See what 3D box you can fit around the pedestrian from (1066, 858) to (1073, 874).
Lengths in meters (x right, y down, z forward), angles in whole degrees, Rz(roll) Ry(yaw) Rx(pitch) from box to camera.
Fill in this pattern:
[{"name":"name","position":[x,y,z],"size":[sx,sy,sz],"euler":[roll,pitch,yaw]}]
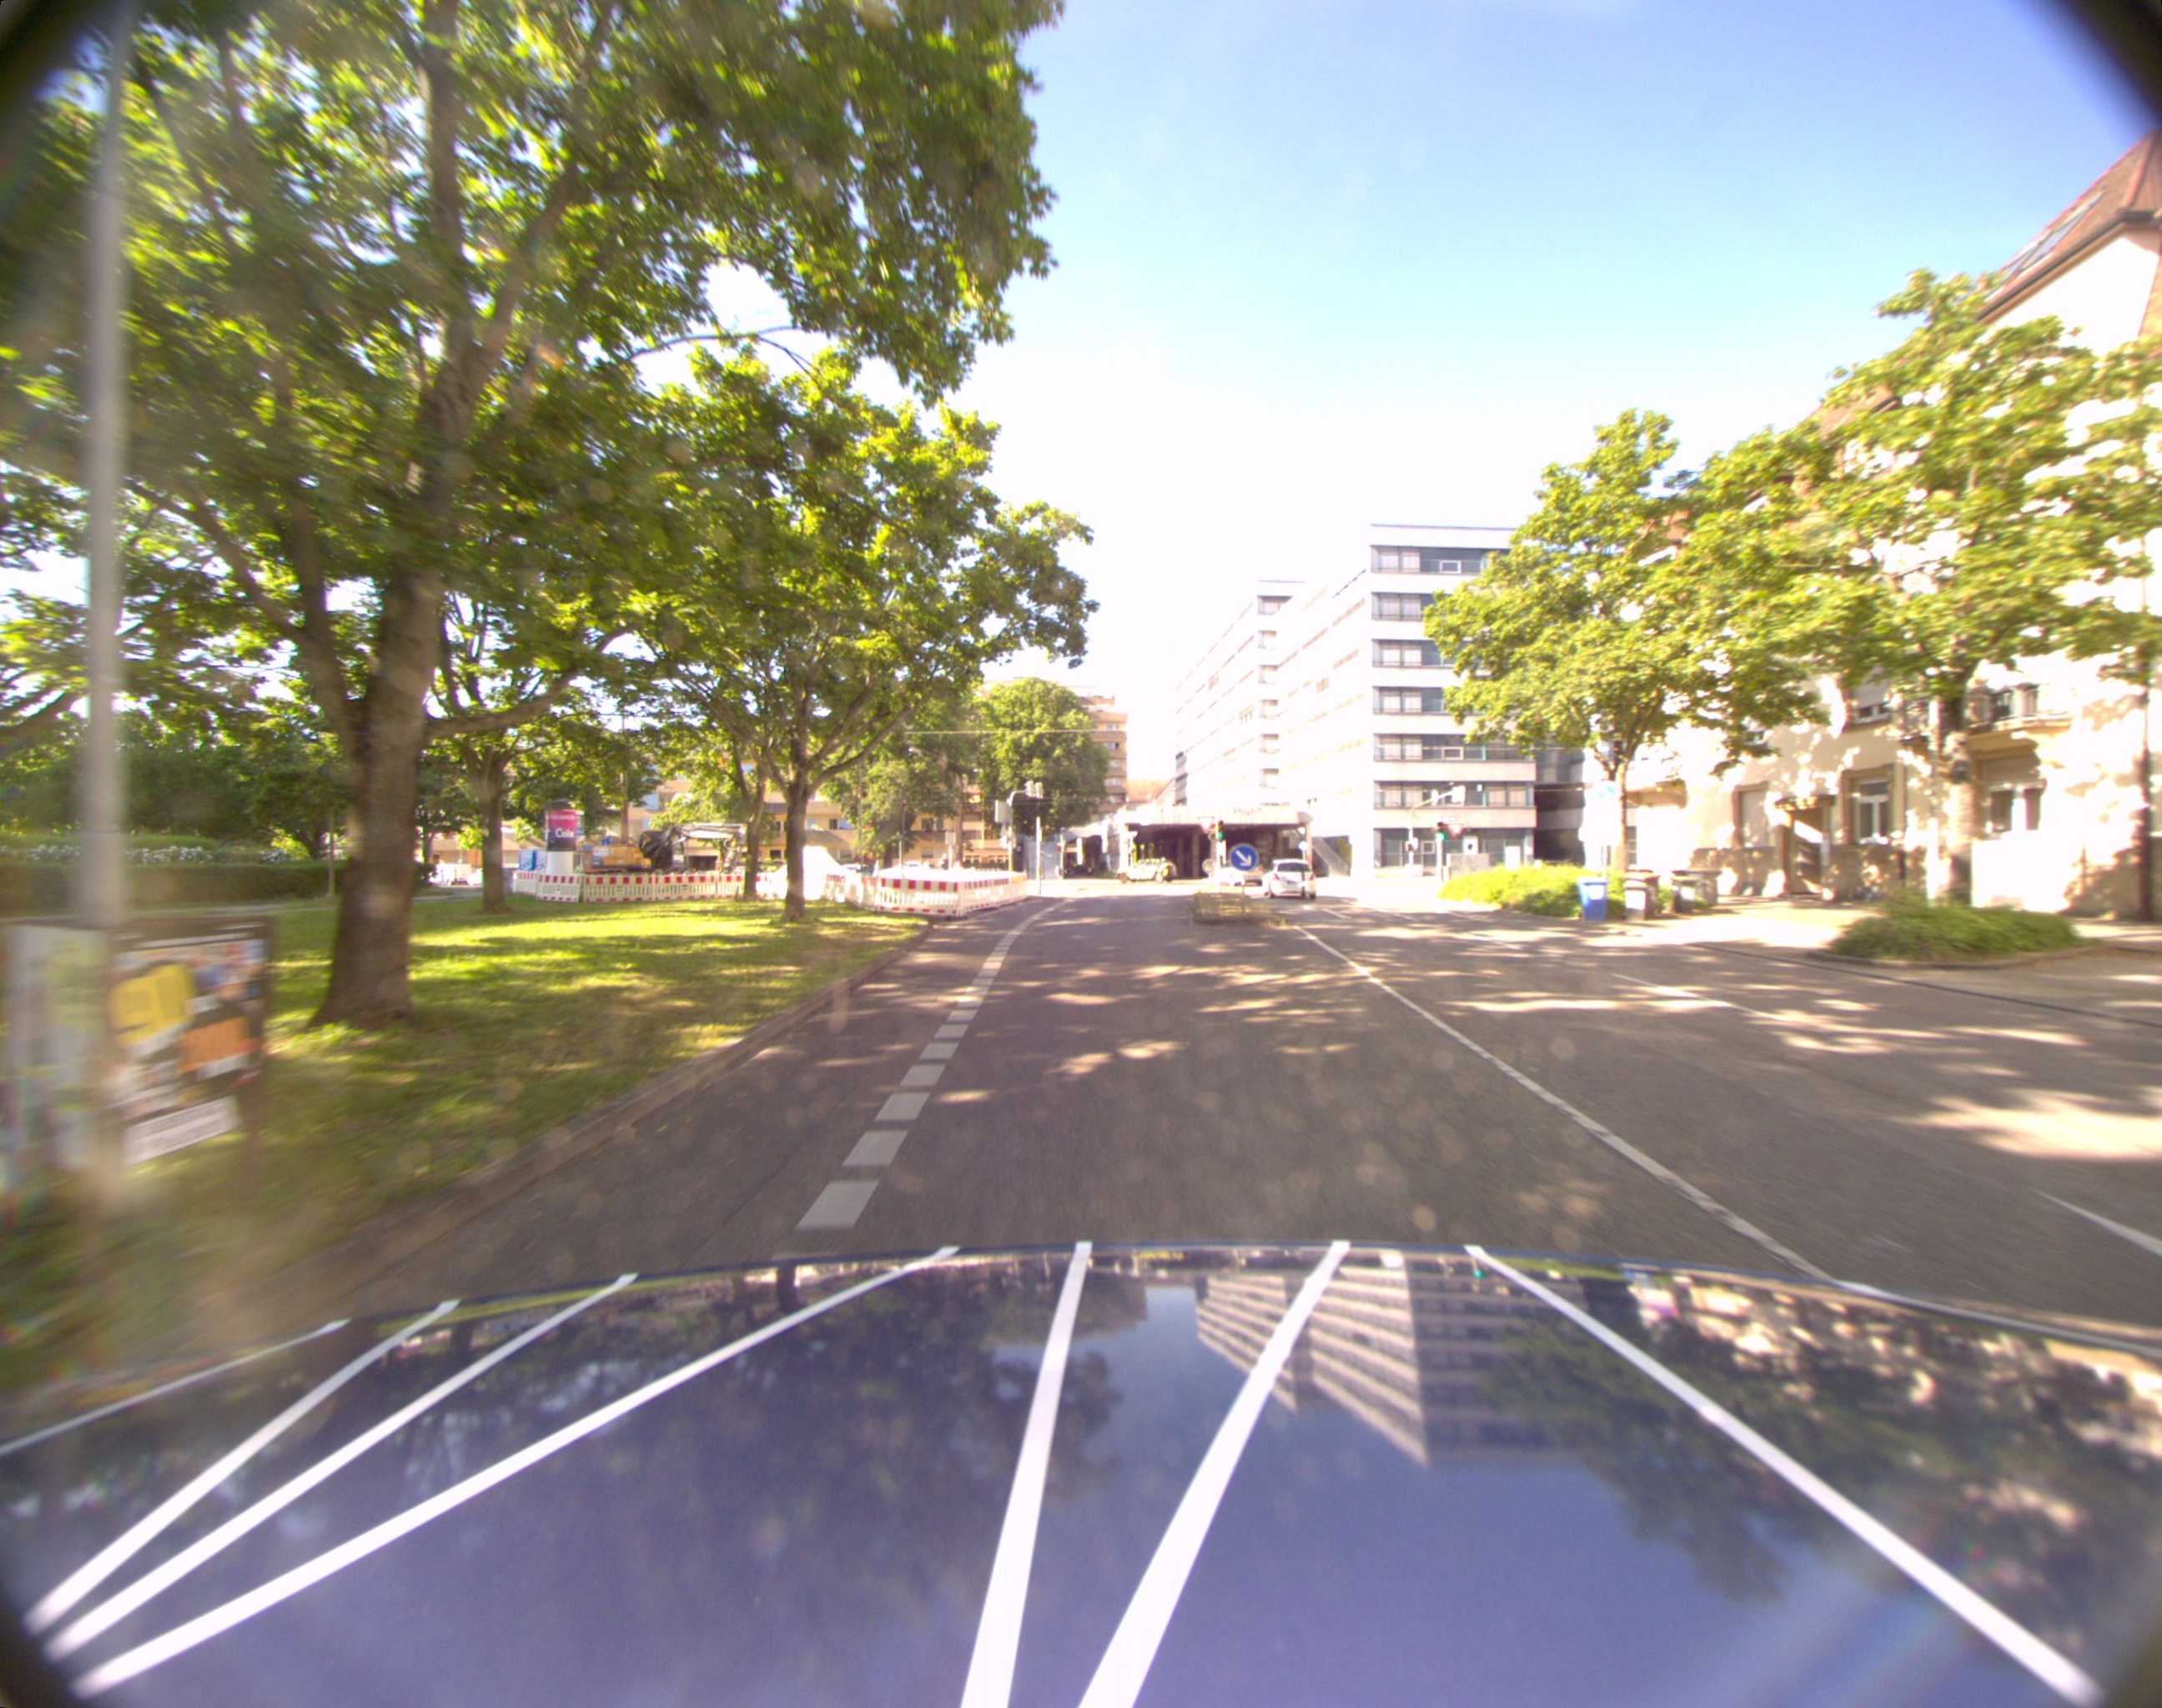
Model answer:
[{"name":"pedestrian","position":[-1.171,1.244,78.342],"size":[0.658,1.681,0.589],"euler":[-1,0,-11]}]

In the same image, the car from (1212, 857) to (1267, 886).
[{"name":"car","position":[8.635,0.900,41.703],"size":[1.713,1.444,3.847],"euler":[0,1,-10]}]

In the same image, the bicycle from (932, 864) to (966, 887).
[{"name":"bicycle","position":[-7.437,1.217,42.696],"size":[1.780,1.258,0.655],"euler":[0,-1,16]}]

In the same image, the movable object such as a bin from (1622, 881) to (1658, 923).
[{"name":"movable object such as a bin","position":[13.453,1.159,18.291],"size":[0.514,0.970,0.639],"euler":[-1,0,18]}]

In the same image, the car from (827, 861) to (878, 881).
[{"name":"car","position":[-18.111,1.360,60.298],"size":[3.502,1.522,1.658],"euler":[0,-2,12]}]

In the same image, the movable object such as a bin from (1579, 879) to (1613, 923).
[{"name":"movable object such as a bin","position":[12.605,1.144,18.595],"size":[0.514,1.041,0.639],"euler":[-1,0,18]}]

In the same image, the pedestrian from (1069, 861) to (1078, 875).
[{"name":"pedestrian","position":[-0.734,1.349,73.545],"size":[0.724,1.291,0.589],"euler":[-1,0,-11]}]

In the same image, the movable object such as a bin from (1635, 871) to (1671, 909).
[{"name":"movable object such as a bin","position":[14.170,0.880,18.827],"size":[0.514,0.907,0.639],"euler":[-1,0,18]}]

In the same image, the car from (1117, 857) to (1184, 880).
[{"name":"car","position":[4.659,0.949,51.291],"size":[4.105,1.504,1.797],"euler":[-1,0,32]}]

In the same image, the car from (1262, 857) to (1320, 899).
[{"name":"car","position":[8.177,0.907,29.825],"size":[1.708,1.503,3.866],"euler":[1,0,9]}]

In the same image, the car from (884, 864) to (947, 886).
[{"name":"car","position":[-12.672,1.570,58.191],"size":[4.314,1.610,1.938],"euler":[0,0,14]}]

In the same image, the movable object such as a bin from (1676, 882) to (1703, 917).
[{"name":"movable object such as a bin","position":[15.383,1.140,19.213],"size":[0.404,0.848,0.439],"euler":[-1,0,18]}]

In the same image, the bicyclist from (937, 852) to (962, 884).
[{"name":"bicyclist","position":[-7.364,0.787,42.672],"size":[1.094,1.819,0.916],"euler":[0,0,16]}]

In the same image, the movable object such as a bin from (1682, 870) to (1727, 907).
[{"name":"movable object such as a bin","position":[17.606,0.975,21.461],"size":[0.784,0.994,0.639],"euler":[-1,0,17]}]

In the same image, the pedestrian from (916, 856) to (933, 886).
[{"name":"pedestrian","position":[-8.386,0.930,40.665],"size":[0.638,1.591,0.636],"euler":[0,0,24]}]
